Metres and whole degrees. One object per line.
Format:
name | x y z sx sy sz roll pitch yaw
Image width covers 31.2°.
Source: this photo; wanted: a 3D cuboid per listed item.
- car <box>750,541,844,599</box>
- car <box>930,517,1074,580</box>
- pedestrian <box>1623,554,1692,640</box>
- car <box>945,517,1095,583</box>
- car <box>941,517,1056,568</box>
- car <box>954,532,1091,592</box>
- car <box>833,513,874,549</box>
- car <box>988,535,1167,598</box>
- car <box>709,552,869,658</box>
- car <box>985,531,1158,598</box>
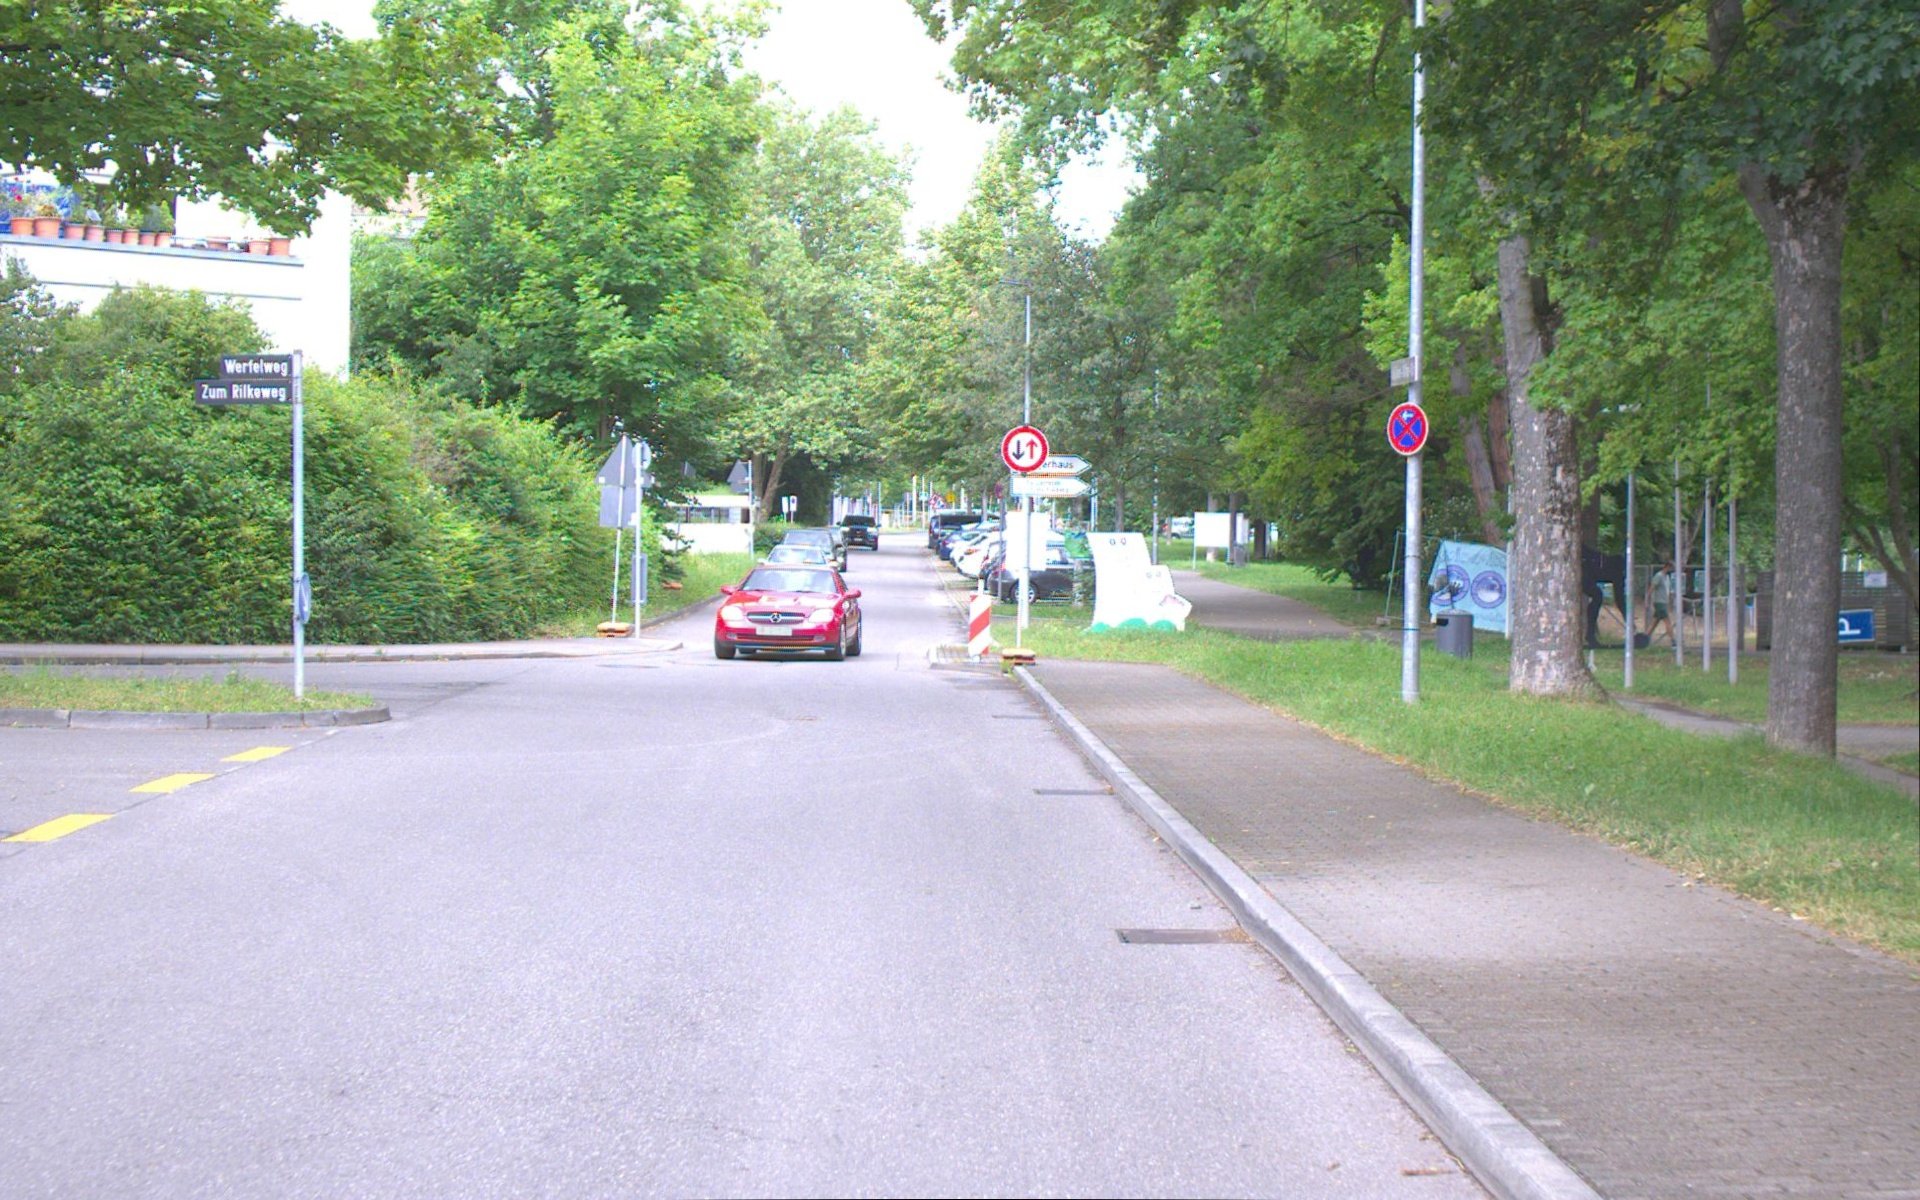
car | -3.933 -0.750 83.551 1.781 1.302 4.295 2 1 4
car | 1.220 -1.550 102.017 4.062 1.681 1.823 -3 1 -4
pedestrian | 13.630 -0.061 67.178 1.149 1.669 0.792 0 0 25
car | 1.690 -1.439 98.297 4.062 1.681 1.823 -3 1 -4
car | 1.433 -2.141 127.687 4.062 1.681 1.823 -3 1 -4
car | 1.930 -1.200 107.571 4.062 1.681 1.823 -3 1 -4
car | -5.373 -3.457 172.874 1.968 1.741 4.339 1 1 -2
car | 2.729 -0.775 80.723 4.062 1.429 2.000 0 0 -2
car | -2.305 0.036 47.303 1.750 1.331 4.065 2 1 3
car | 2.675 -0.856 82.907 4.062 1.563 1.822 0 0 -2
